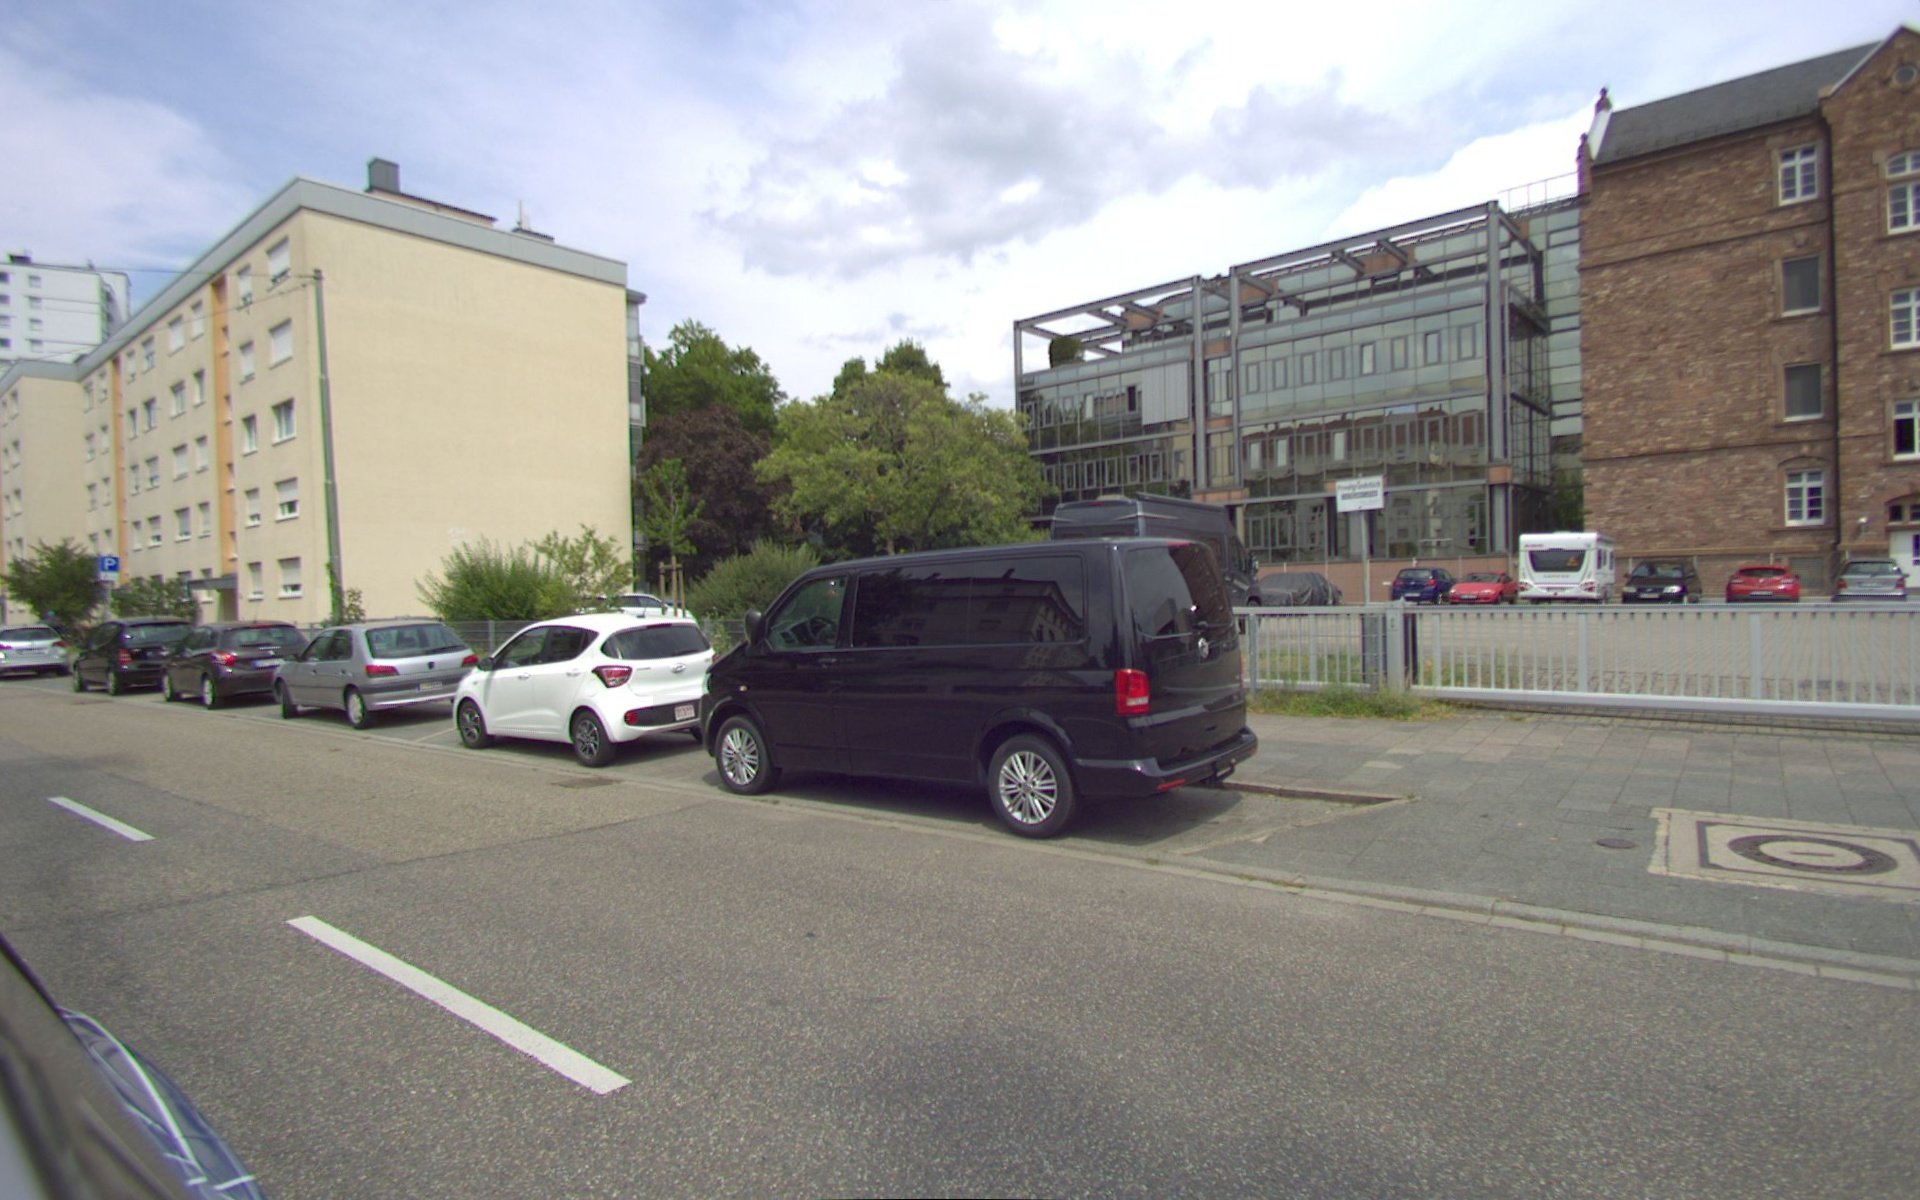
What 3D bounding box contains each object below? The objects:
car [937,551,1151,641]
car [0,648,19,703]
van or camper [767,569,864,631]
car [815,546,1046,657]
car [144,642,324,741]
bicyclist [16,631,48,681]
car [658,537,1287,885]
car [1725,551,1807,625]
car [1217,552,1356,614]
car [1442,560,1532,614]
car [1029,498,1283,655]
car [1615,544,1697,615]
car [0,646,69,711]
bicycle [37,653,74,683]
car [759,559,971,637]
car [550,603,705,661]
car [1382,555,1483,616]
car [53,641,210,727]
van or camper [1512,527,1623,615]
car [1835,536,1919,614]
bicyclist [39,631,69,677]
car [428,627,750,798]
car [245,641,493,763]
[{"bbox_3d":[1.844,-0.115,20.802,2.000,1.630,4.648,-2,0,41],"label":"car"},{"bbox_3d":[-31.214,2.373,31.756,3.831,1.636,1.703,-1,1,35],"label":"car"},{"bbox_3d":[-7.173,0.057,49.800,4.898,2.894,1.973,-2,-1,40],"label":"van or camper"},{"bbox_3d":[-0.518,0.009,22.429,2.228,2.166,5.031,-2,0,42],"label":"car"},{"bbox_3d":[-13.424,1.596,18.629,4.044,1.481,1.671,-1,1,40],"label":"car"},{"bbox_3d":[-31.689,1.900,34.570,0.764,1.620,0.609,-1,2,37],"label":"bicyclist"},{"bbox_3d":[-0.132,0.666,8.150,4.838,2.019,1.930,-2,2,39],"label":"car"},{"bbox_3d":[25.371,-0.360,31.807,1.803,2.152,4.316,-2,-1,41],"label":"car"},{"bbox_3d":[9.869,-0.486,30.386,2.329,1.676,4.643,-2,-1,41],"label":"car"},{"bbox_3d":[19.096,-0.456,36.572,1.727,1.797,4.313,-2,-1,43],"label":"car"},{"bbox_3d":[3.883,-0.534,19.241,2.353,2.570,5.257,-1,3,41],"label":"car"},{"bbox_3d":[22.788,-0.639,33.073,1.725,2.152,4.316,-2,-1,41],"label":"car"},{"bbox_3d":[-26.622,2.152,28.263,4.545,1.575,1.770,-2,2,39],"label":"car"},{"bbox_3d":[-33.382,2.490,37.338,2.078,1.009,0.618,-1,2,37],"label":"bicycle"},{"bbox_3d":[-2.173,-0.098,24.462,2.000,1.685,5.032,-2,0,42],"label":"car"},{"bbox_3d":[-9.932,0.897,30.402,3.942,1.494,2.001,-3,1,-45],"label":"car"},{"bbox_3d":[17.986,-0.527,38.443,2.204,2.152,4.313,-2,-1,43],"label":"car"},{"bbox_3d":[-17.957,1.739,21.888,3.991,1.586,1.608,-1,1,36],"label":"car"},{"bbox_3d":[20.696,-0.922,34.356,2.578,2.723,5.000,-1,0,38],"label":"van or camper"},{"bbox_3d":[27.593,-0.699,30.479,1.725,2.152,4.318,-2,-1,40],"label":"car"},{"bbox_3d":[-33.445,1.982,37.361,0.764,1.620,0.609,-1,2,37],"label":"bicyclist"},{"bbox_3d":[-4.318,1.156,11.570,3.759,1.541,1.639,-2,1,37],"label":"car"},{"bbox_3d":[-8.857,1.398,15.023,4.257,1.468,1.671,-2,0,38],"label":"car"}]
